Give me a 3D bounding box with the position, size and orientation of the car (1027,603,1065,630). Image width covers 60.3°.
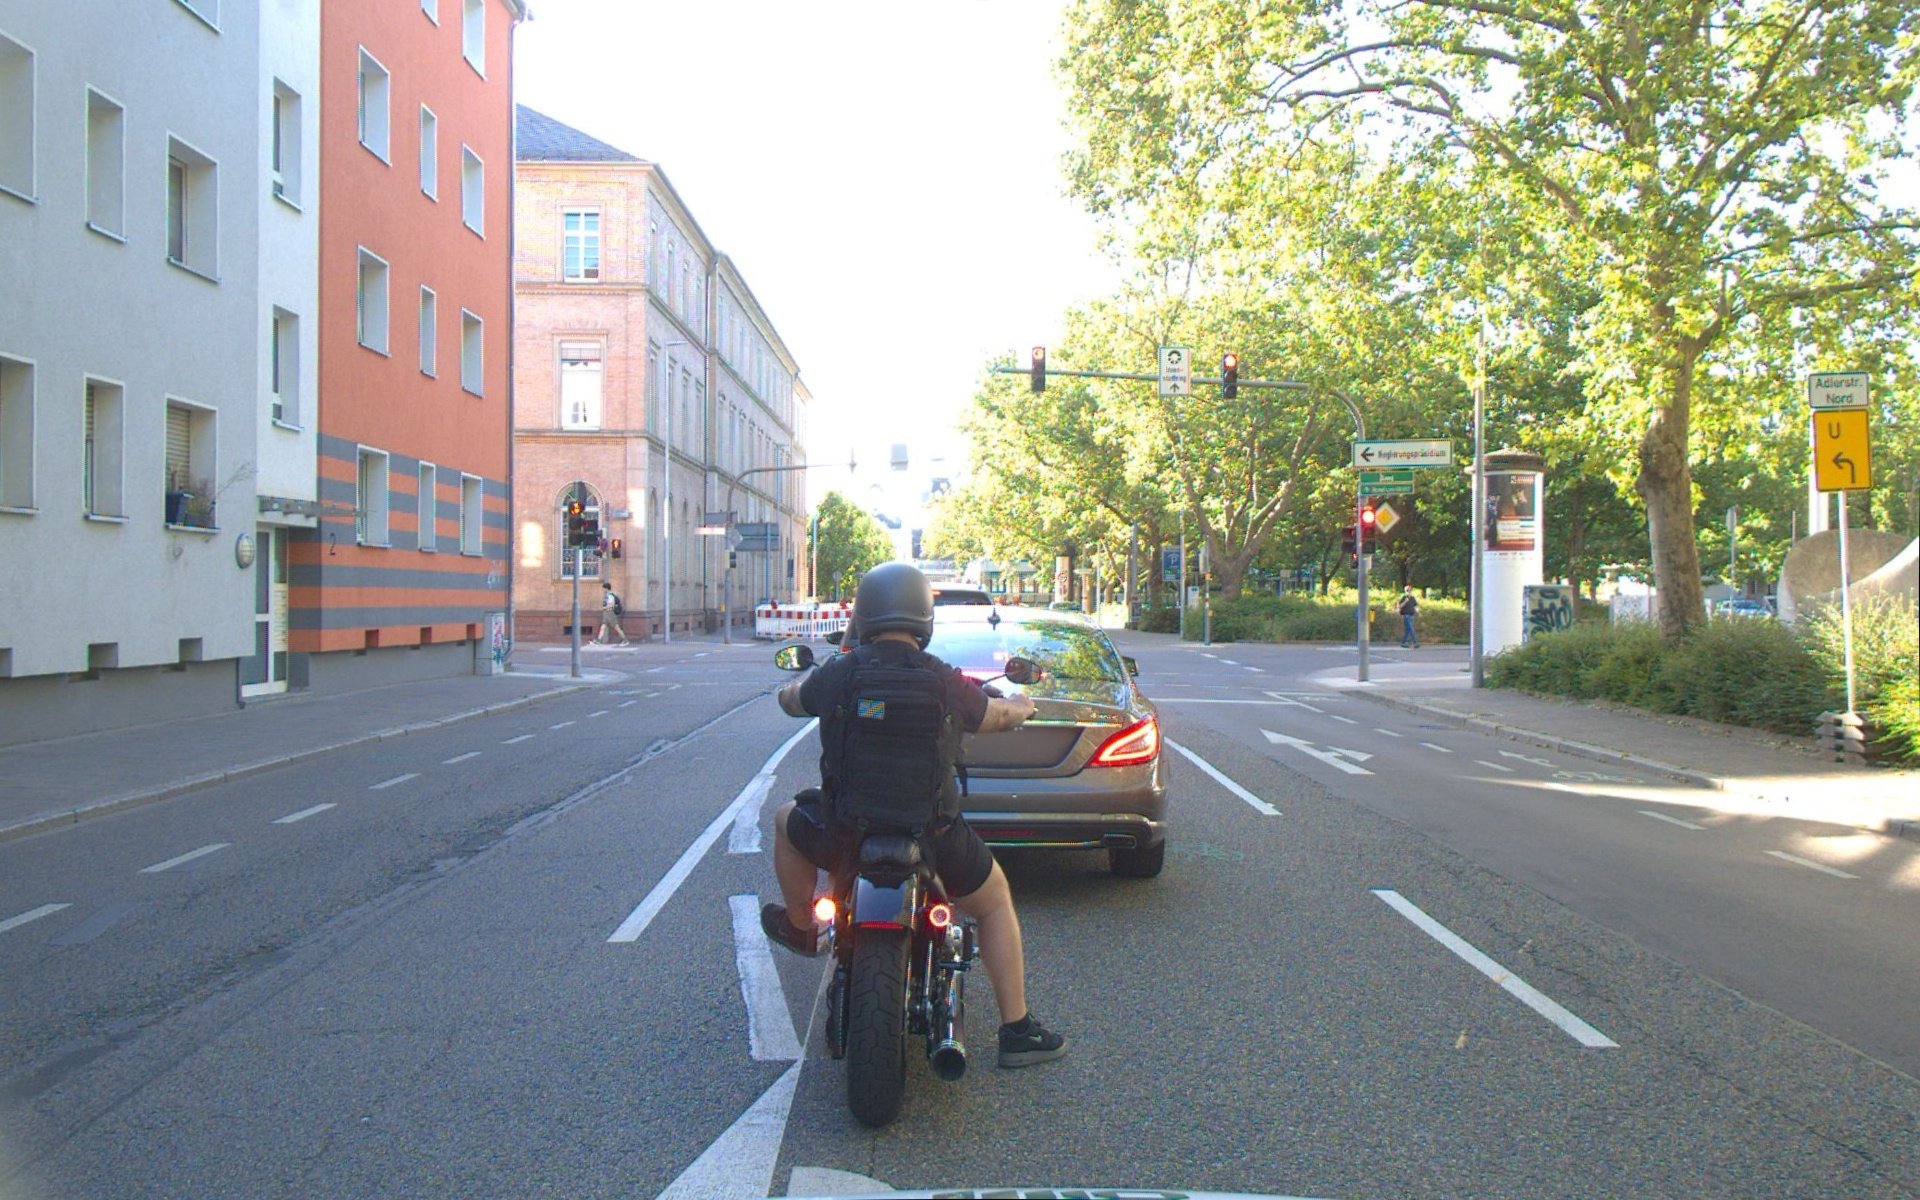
[{"bbox_3d":[4.219,0.805,81.600,1.598,1.281,3.715,1,0,-1],"label":"car"}]

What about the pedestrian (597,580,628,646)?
[{"bbox_3d":[-9.930,0.376,47.301,0.723,1.852,0.643,1,-1,-1],"label":"pedestrian"}]

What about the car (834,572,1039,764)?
[{"bbox_3d":[-0.241,0.621,16.930,1.825,1.707,3.999,1,0,-1],"label":"car"}]

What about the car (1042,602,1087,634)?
[{"bbox_3d":[4.341,0.755,69.116,1.598,1.281,3.715,1,0,-1],"label":"car"}]

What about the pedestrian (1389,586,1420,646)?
[{"bbox_3d":[13.541,0.483,50.376,0.722,1.809,0.728,1,-1,29],"label":"pedestrian"}]

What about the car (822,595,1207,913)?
[{"bbox_3d":[0.232,0.730,9.658,1.785,1.462,3.805,1,0,-1],"label":"car"}]

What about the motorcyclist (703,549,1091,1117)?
[{"bbox_3d":[-0.142,0.660,5.265,1.076,1.593,1.072,1,0,5],"label":"motorcyclist"}]

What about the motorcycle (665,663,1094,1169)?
[{"bbox_3d":[-0.130,0.871,5.485,1.094,1.228,2.213,1,0,5],"label":"motorcycle"}]

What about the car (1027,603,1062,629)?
[{"bbox_3d":[4.427,0.830,86.819,1.598,1.281,3.715,1,0,-1],"label":"car"}]
